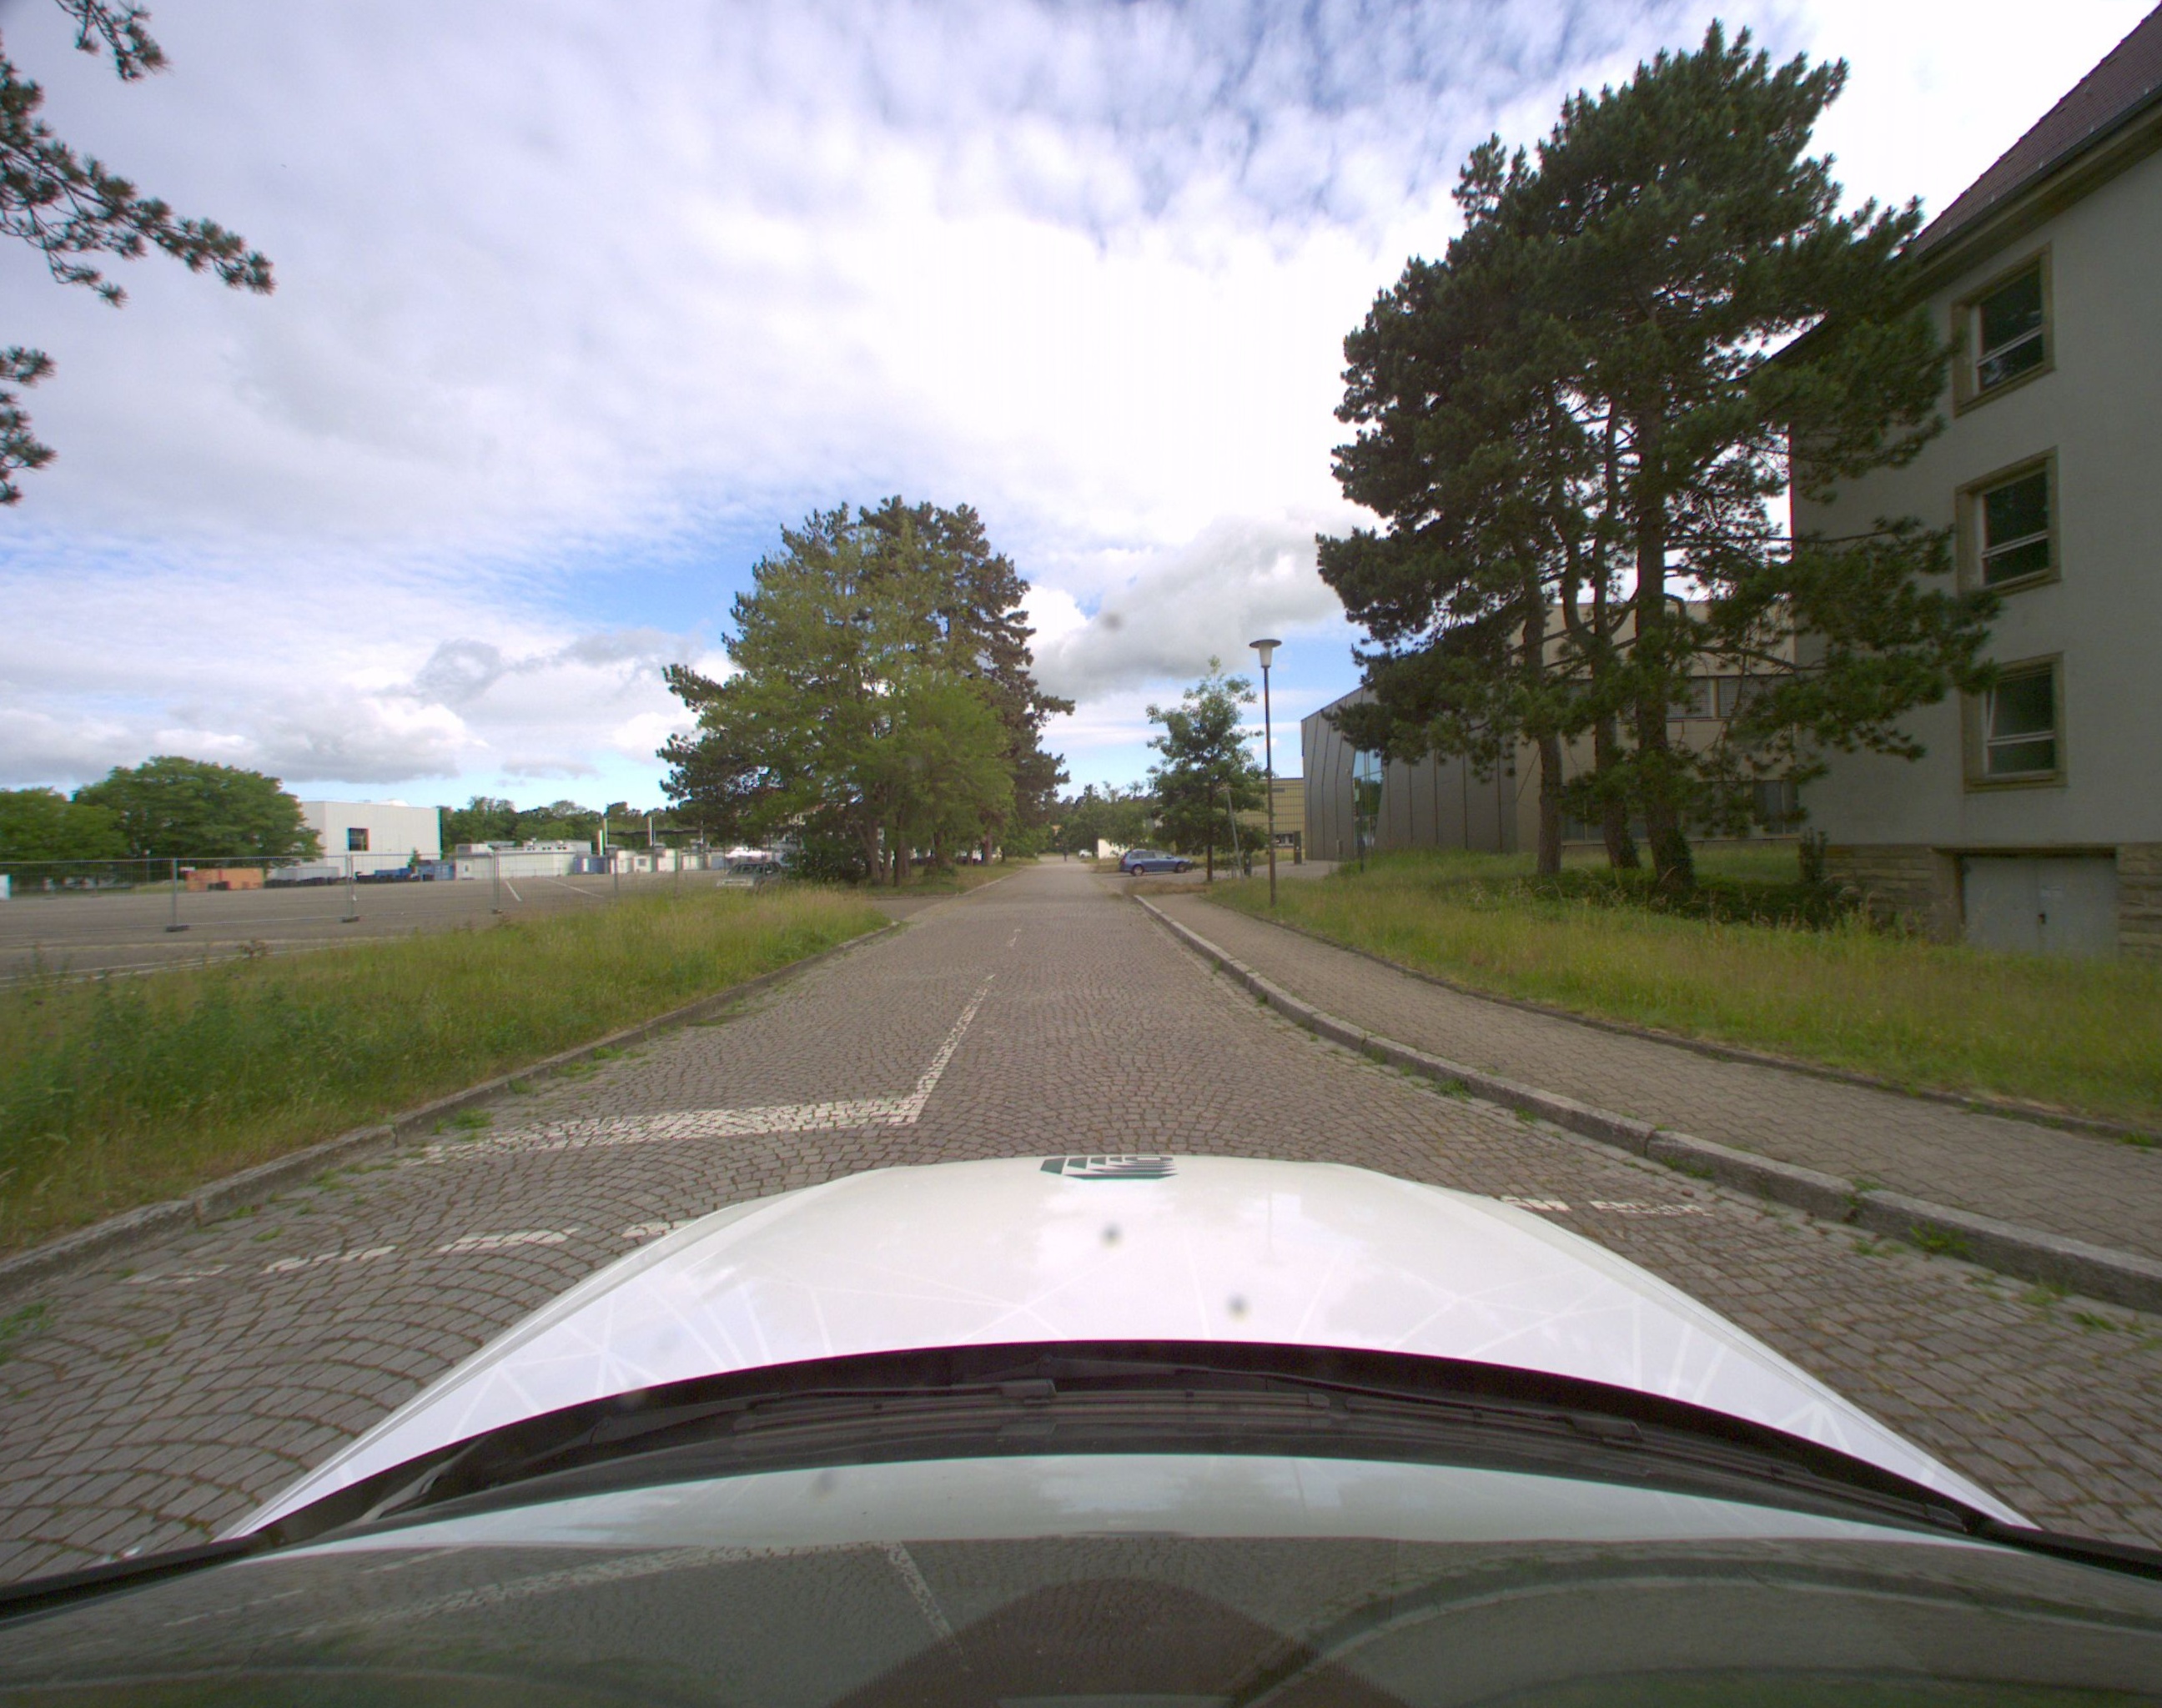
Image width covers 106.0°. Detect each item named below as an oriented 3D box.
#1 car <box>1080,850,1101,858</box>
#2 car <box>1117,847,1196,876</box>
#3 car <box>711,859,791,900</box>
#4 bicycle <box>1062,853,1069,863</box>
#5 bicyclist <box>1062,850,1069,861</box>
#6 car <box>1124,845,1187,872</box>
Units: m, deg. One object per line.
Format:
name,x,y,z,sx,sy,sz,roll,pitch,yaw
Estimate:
car,1.955,-0.006,169.010,4.308,1.549,2.000,-2,0,0
car,4.532,0.436,49.279,4.472,1.462,1.932,-4,0,-4
car,-13.638,1.024,33.939,1.725,1.432,4.159,-2,1,-2
bicycle,-2.231,0.514,116.186,0.821,1.376,2.041,-1,1,-2
bicyclist,-2.232,0.149,116.194,0.895,1.542,0.867,-1,1,-3
car,5.136,0.307,56.751,4.099,1.572,1.762,-4,0,-4
